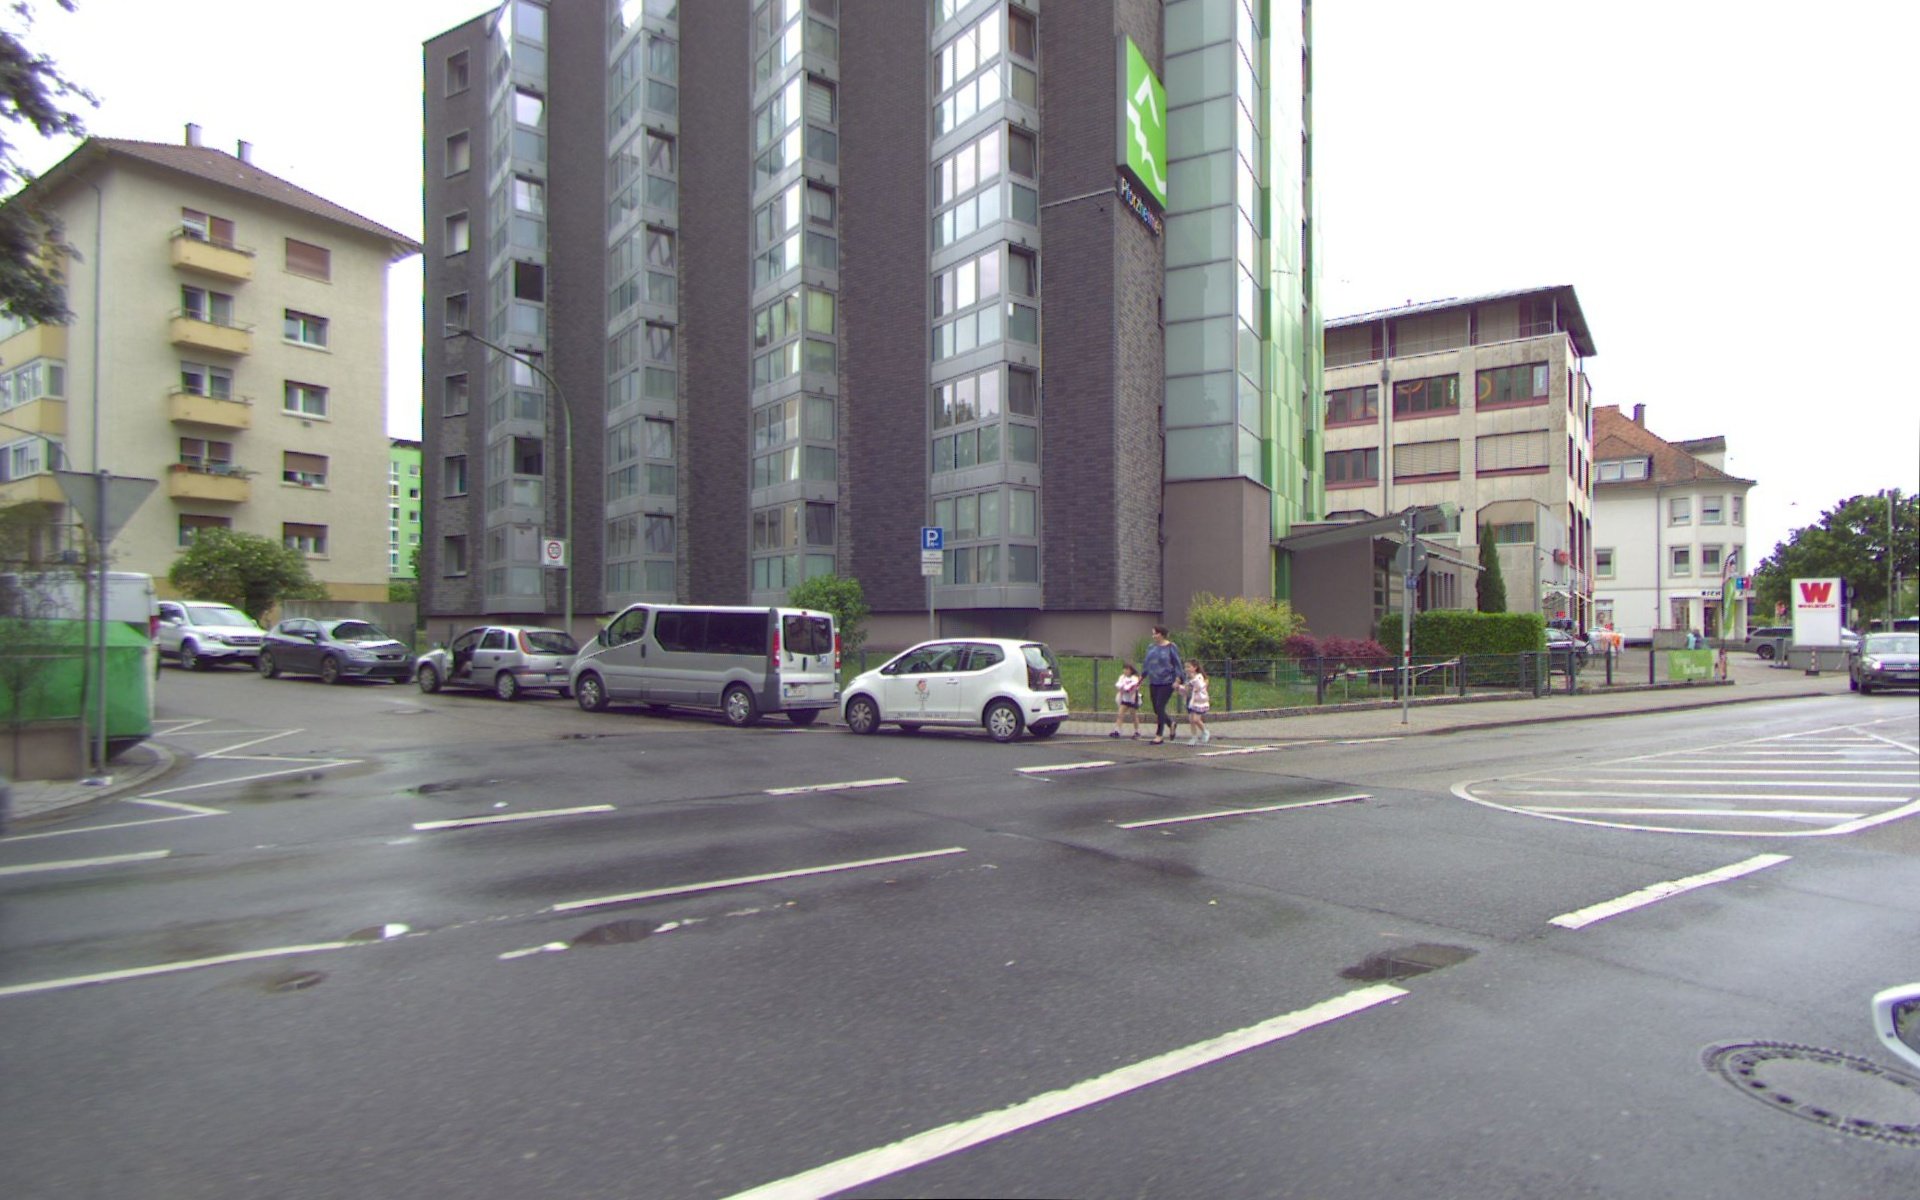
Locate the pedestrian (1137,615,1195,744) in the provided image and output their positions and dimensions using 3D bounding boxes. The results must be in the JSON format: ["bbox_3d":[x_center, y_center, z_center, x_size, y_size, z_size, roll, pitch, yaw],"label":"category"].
[{"bbox_3d":[2.959,1.118,14.415,0.576,1.785,0.569,1,-1,-40],"label":"pedestrian"}]

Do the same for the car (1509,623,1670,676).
[{"bbox_3d":[18.706,1.442,29.831,4.592,1.458,1.987,1,-1,-27],"label":"car"}]

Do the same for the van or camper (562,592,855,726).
[{"bbox_3d":[-4.467,0.980,17.685,4.878,2.039,1.998,1,-4,29],"label":"van or camper"}]

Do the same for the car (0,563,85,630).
[{"bbox_3d":[-30.449,-0.085,32.564,3.929,2.040,1.996,0,-1,31],"label":"car"}]

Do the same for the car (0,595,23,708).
[{"bbox_3d":[-21.349,1.031,20.571,3.927,2.285,1.997,0,-1,29],"label":"car"}]

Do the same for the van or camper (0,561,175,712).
[{"bbox_3d":[-16.110,0.501,17.445,4.533,2.297,2.209,2,1,27],"label":"van or camper"}]

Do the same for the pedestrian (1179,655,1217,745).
[{"bbox_3d":[3.300,1.372,13.926,0.308,1.214,0.405,1,-1,-40],"label":"pedestrian"}]

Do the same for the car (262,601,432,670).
[{"bbox_3d":[-14.135,0.780,23.109,3.929,1.483,1.691,0,-1,31],"label":"car"}]

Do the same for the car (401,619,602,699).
[{"bbox_3d":[-9.335,1.140,20.427,3.662,1.462,1.996,0,-1,31],"label":"car"}]

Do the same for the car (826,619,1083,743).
[{"bbox_3d":[-0.111,1.138,15.347,3.526,1.590,1.737,1,0,31],"label":"car"}]

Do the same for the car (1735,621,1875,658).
[{"bbox_3d":[37.180,1.715,44.295,1.868,1.546,4.415,1,-2,-36],"label":"car"}]

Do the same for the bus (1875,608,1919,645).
[{"bbox_3d":[84.833,2.299,87.146,2.860,3.146,8.874,0,-1,1],"label":"bus"}]

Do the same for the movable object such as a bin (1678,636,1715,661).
[{"bbox_3d":[24.249,1.584,33.085,0.718,0.799,0.755,1,-2,11],"label":"movable object such as a bin"}]

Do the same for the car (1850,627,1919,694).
[{"bbox_3d":[25.393,1.583,27.148,1.927,1.681,4.034,0,-2,43],"label":"car"}]

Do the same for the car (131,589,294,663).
[{"bbox_3d":[-19.239,0.650,25.843,3.929,1.751,1.996,0,-1,31],"label":"car"}]

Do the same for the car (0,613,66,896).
[{"bbox_3d":[-7.055,0.749,4.366,4.454,1.444,2.001,2,-1,-34],"label":"car"}]

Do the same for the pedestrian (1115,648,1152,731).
[{"bbox_3d":[2.587,1.325,15.020,0.356,1.214,0.405,1,-1,-40],"label":"pedestrian"}]

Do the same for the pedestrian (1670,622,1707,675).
[{"bbox_3d":[23.716,1.569,32.716,0.732,1.707,0.755,0,-1,11],"label":"pedestrian"}]
